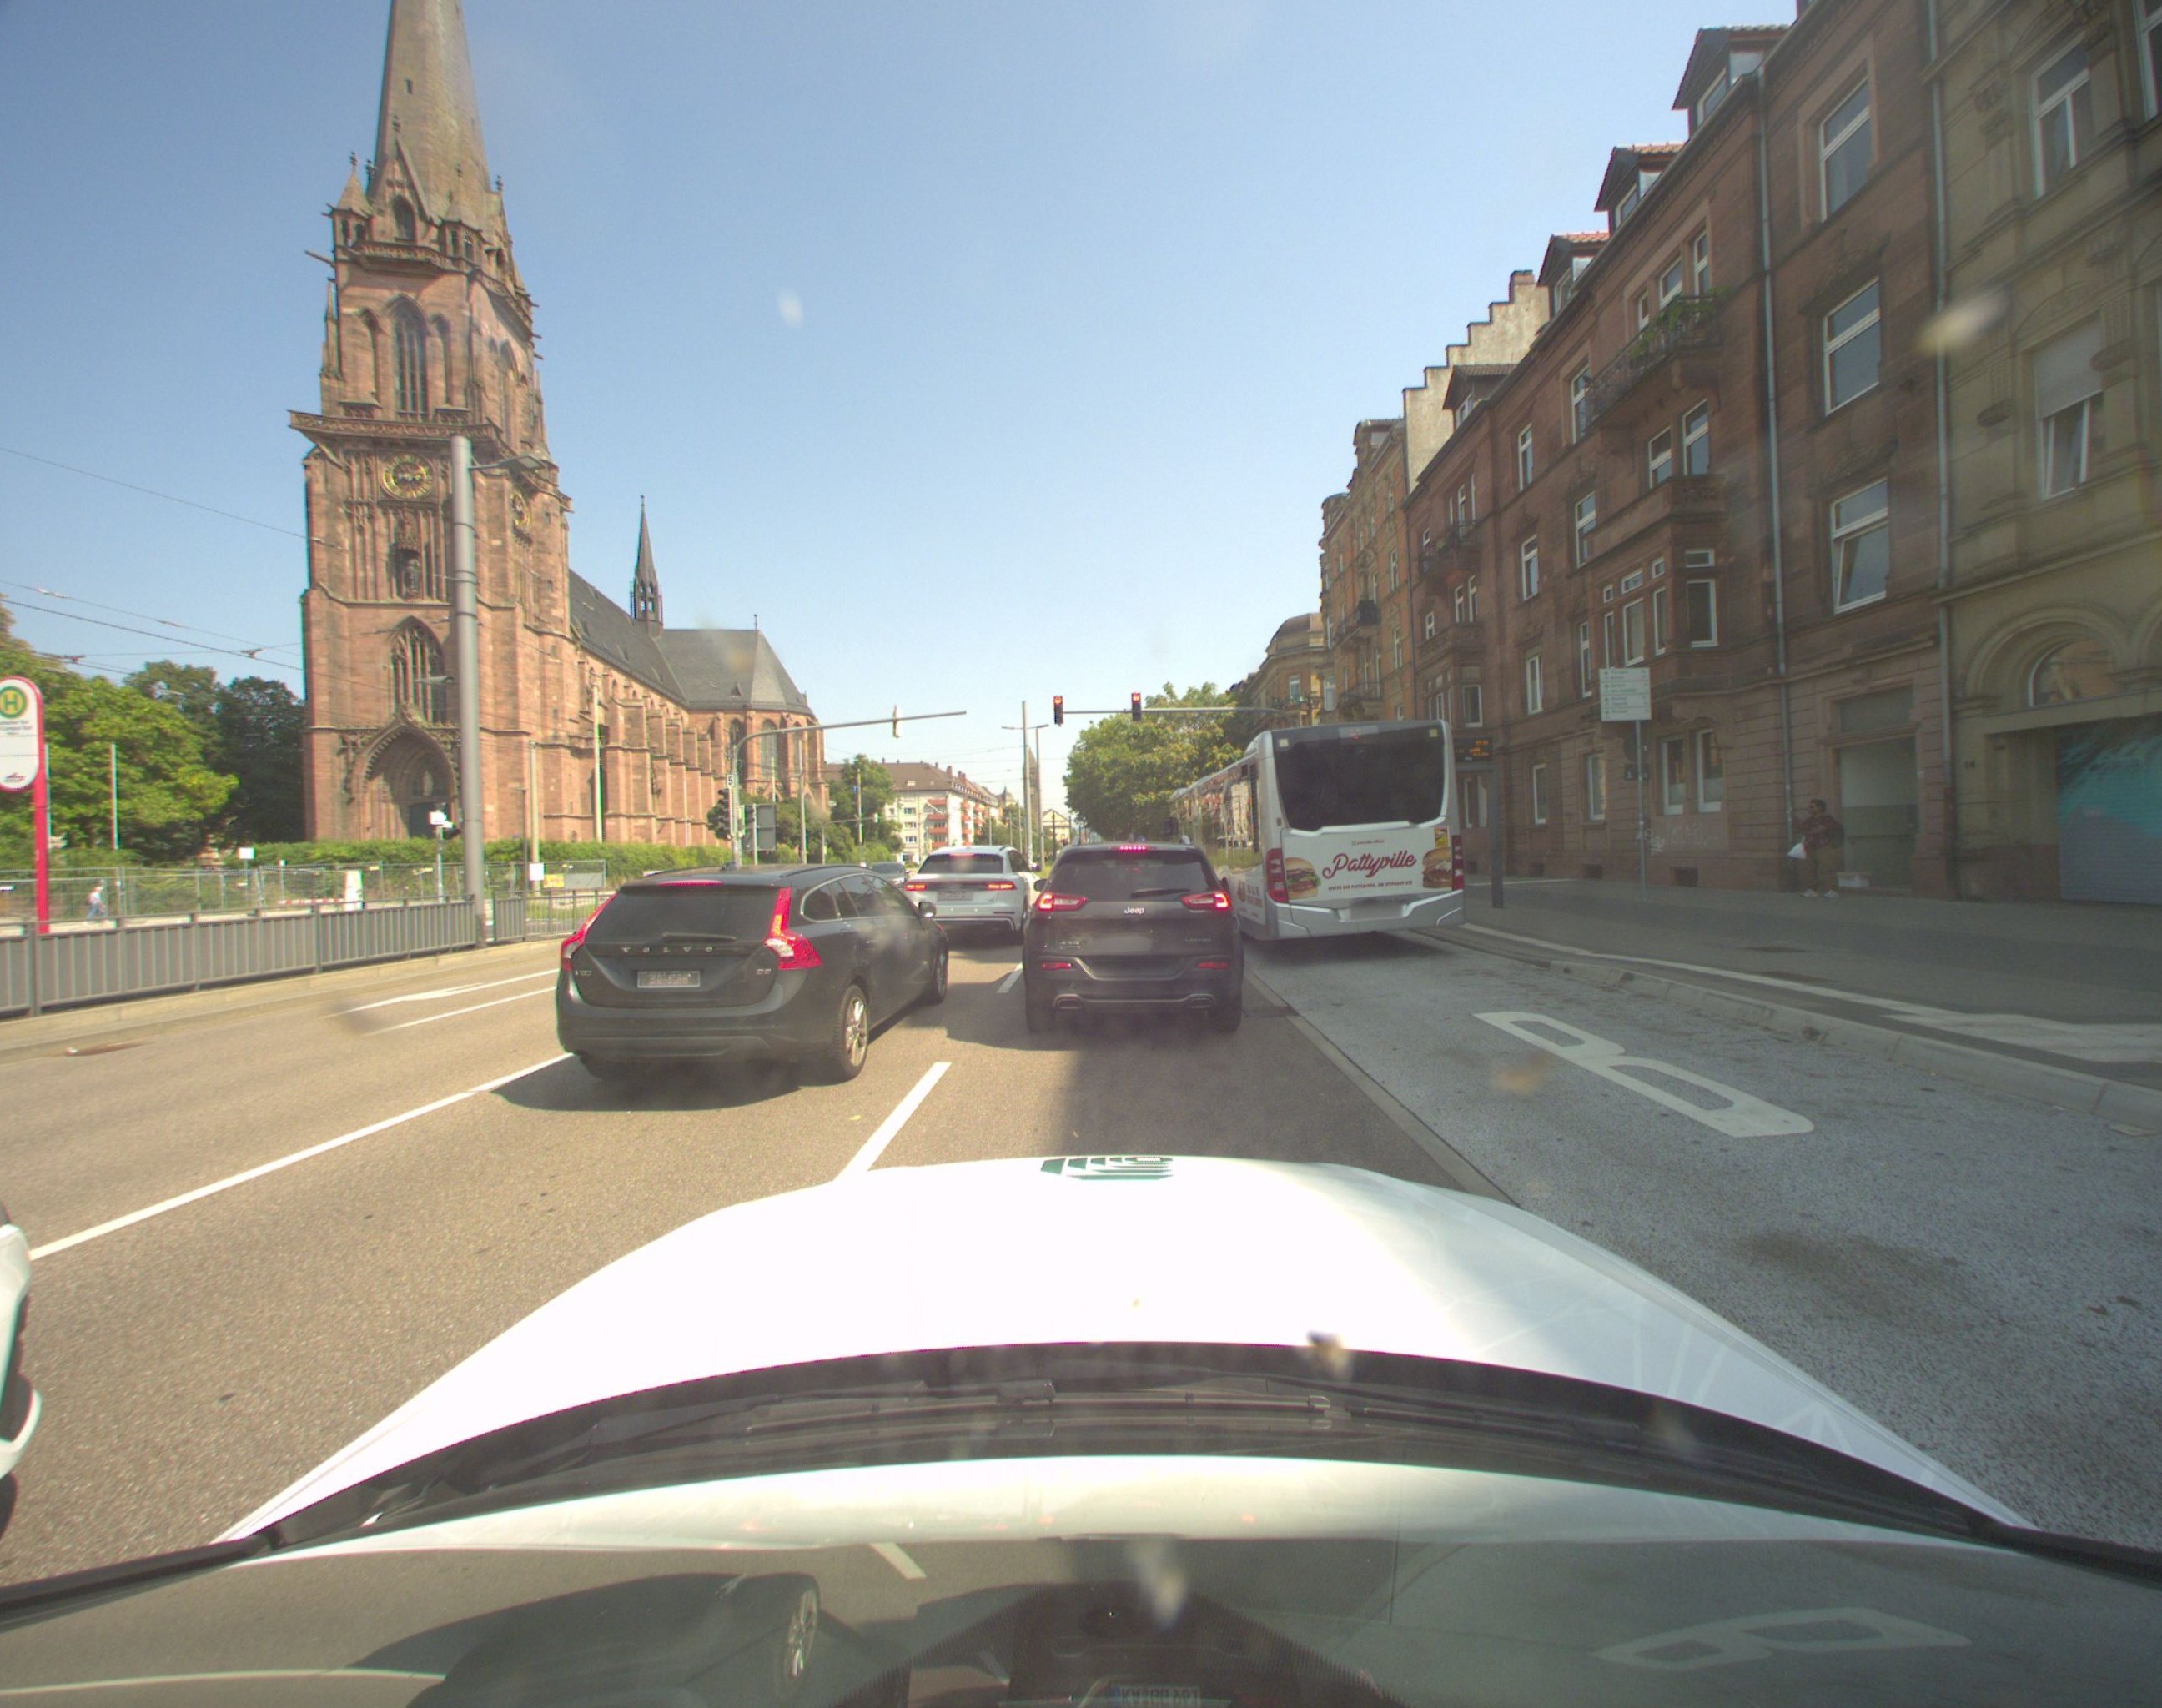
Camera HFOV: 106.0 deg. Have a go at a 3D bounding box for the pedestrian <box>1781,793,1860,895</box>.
[{"bbox_3d":[13.261,-0.182,14.612,0.872,1.778,0.737,-2,0,-26],"label":"pedestrian"}]

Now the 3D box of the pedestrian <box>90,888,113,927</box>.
[{"bbox_3d":[-40.623,2.213,33.773,0.430,1.531,0.548,-3,0,36],"label":"pedestrian"}]

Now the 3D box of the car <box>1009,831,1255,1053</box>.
[{"bbox_3d":[0.497,0.656,8.280,1.825,1.651,4.312,-1,0,3],"label":"car"}]

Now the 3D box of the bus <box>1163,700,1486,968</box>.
[{"bbox_3d":[3.615,-0.231,16.043,2.734,3.107,11.957,-5,0,1],"label":"bus"}]

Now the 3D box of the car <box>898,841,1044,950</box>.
[{"bbox_3d":[-1.798,0.629,14.738,1.895,1.651,4.310,-1,0,2],"label":"car"}]

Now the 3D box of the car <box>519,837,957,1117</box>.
[{"bbox_3d":[-2.337,0.712,6.911,1.741,1.614,4.310,-1,0,2],"label":"car"}]

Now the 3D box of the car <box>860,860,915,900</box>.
[{"bbox_3d":[-8.081,1.041,34.370,1.745,1.435,4.560,-3,0,-8],"label":"car"}]
